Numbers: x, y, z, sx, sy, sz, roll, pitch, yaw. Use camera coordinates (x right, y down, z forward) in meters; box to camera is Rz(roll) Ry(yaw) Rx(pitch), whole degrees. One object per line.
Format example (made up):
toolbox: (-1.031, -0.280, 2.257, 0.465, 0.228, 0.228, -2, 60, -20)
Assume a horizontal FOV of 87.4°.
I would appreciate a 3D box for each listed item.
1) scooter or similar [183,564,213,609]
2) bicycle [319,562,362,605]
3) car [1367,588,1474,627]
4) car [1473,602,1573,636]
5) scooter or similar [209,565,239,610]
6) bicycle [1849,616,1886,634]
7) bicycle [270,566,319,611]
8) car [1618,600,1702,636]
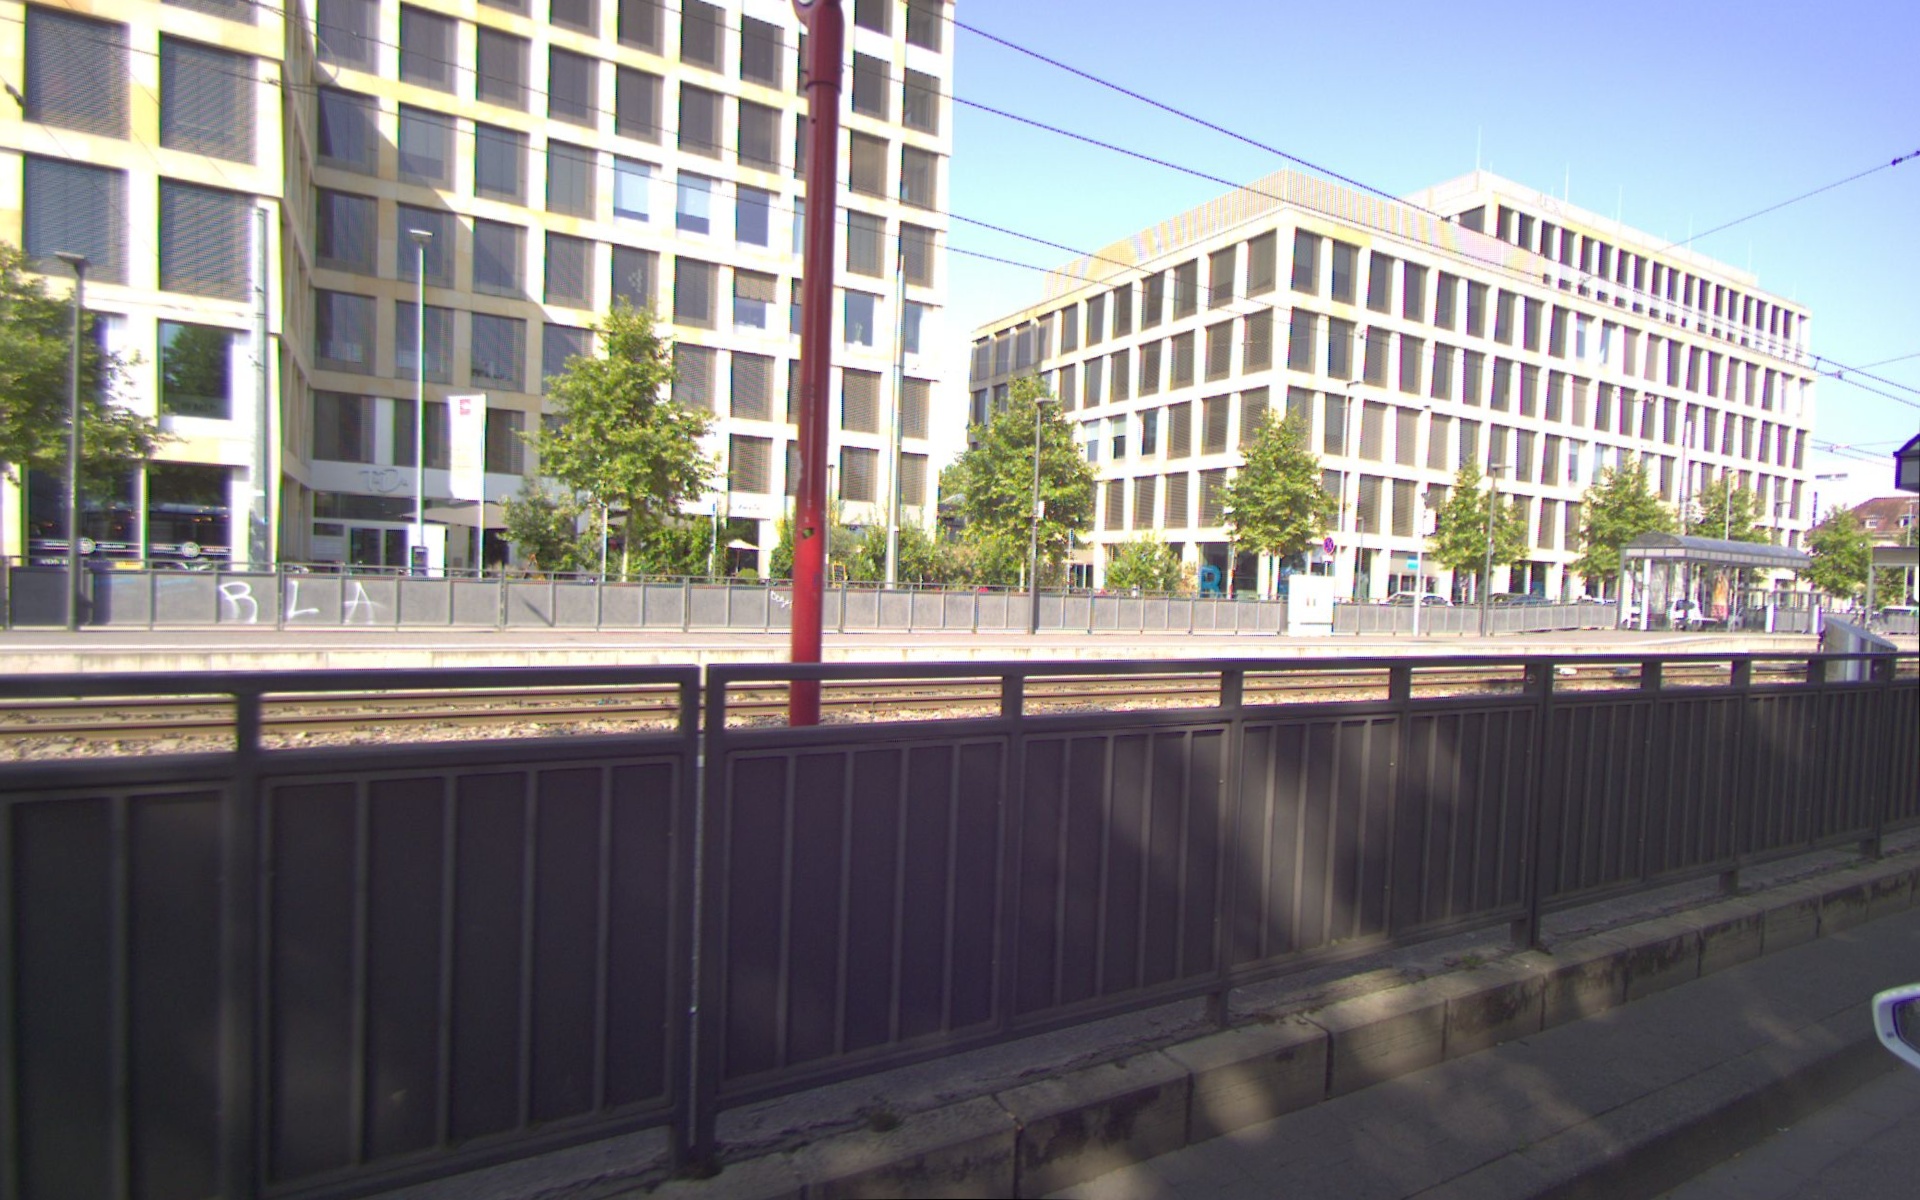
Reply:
scooter or similar: (-17.397, -0.324, 22.944, 0.367, 0.999, 1.493, 1, 1, -30)
bicycle: (-15.041, -0.420, 24.444, 0.812, 0.999, 2.421, 1, 1, -30)
car: (17.919, 0.288, 39.042, 4.173, 1.395, 1.634, 1, 1, -30)
car: (23.001, 0.784, 41.003, 4.173, 1.270, 1.634, 1, 1, -30)
scooter or similar: (-16.944, -0.310, 23.140, 0.390, 0.999, 1.515, 1, 1, -30)
bicycle: (36.036, 0.975, 39.877, 1.591, 0.671, 0.475, 1, 1, -25)
bicycle: (-15.790, -0.299, 23.885, 0.812, 0.999, 2.421, 1, 1, -30)
car: (33.234, 0.852, 47.675, 4.173, 1.571, 1.634, 1, 1, -30)
